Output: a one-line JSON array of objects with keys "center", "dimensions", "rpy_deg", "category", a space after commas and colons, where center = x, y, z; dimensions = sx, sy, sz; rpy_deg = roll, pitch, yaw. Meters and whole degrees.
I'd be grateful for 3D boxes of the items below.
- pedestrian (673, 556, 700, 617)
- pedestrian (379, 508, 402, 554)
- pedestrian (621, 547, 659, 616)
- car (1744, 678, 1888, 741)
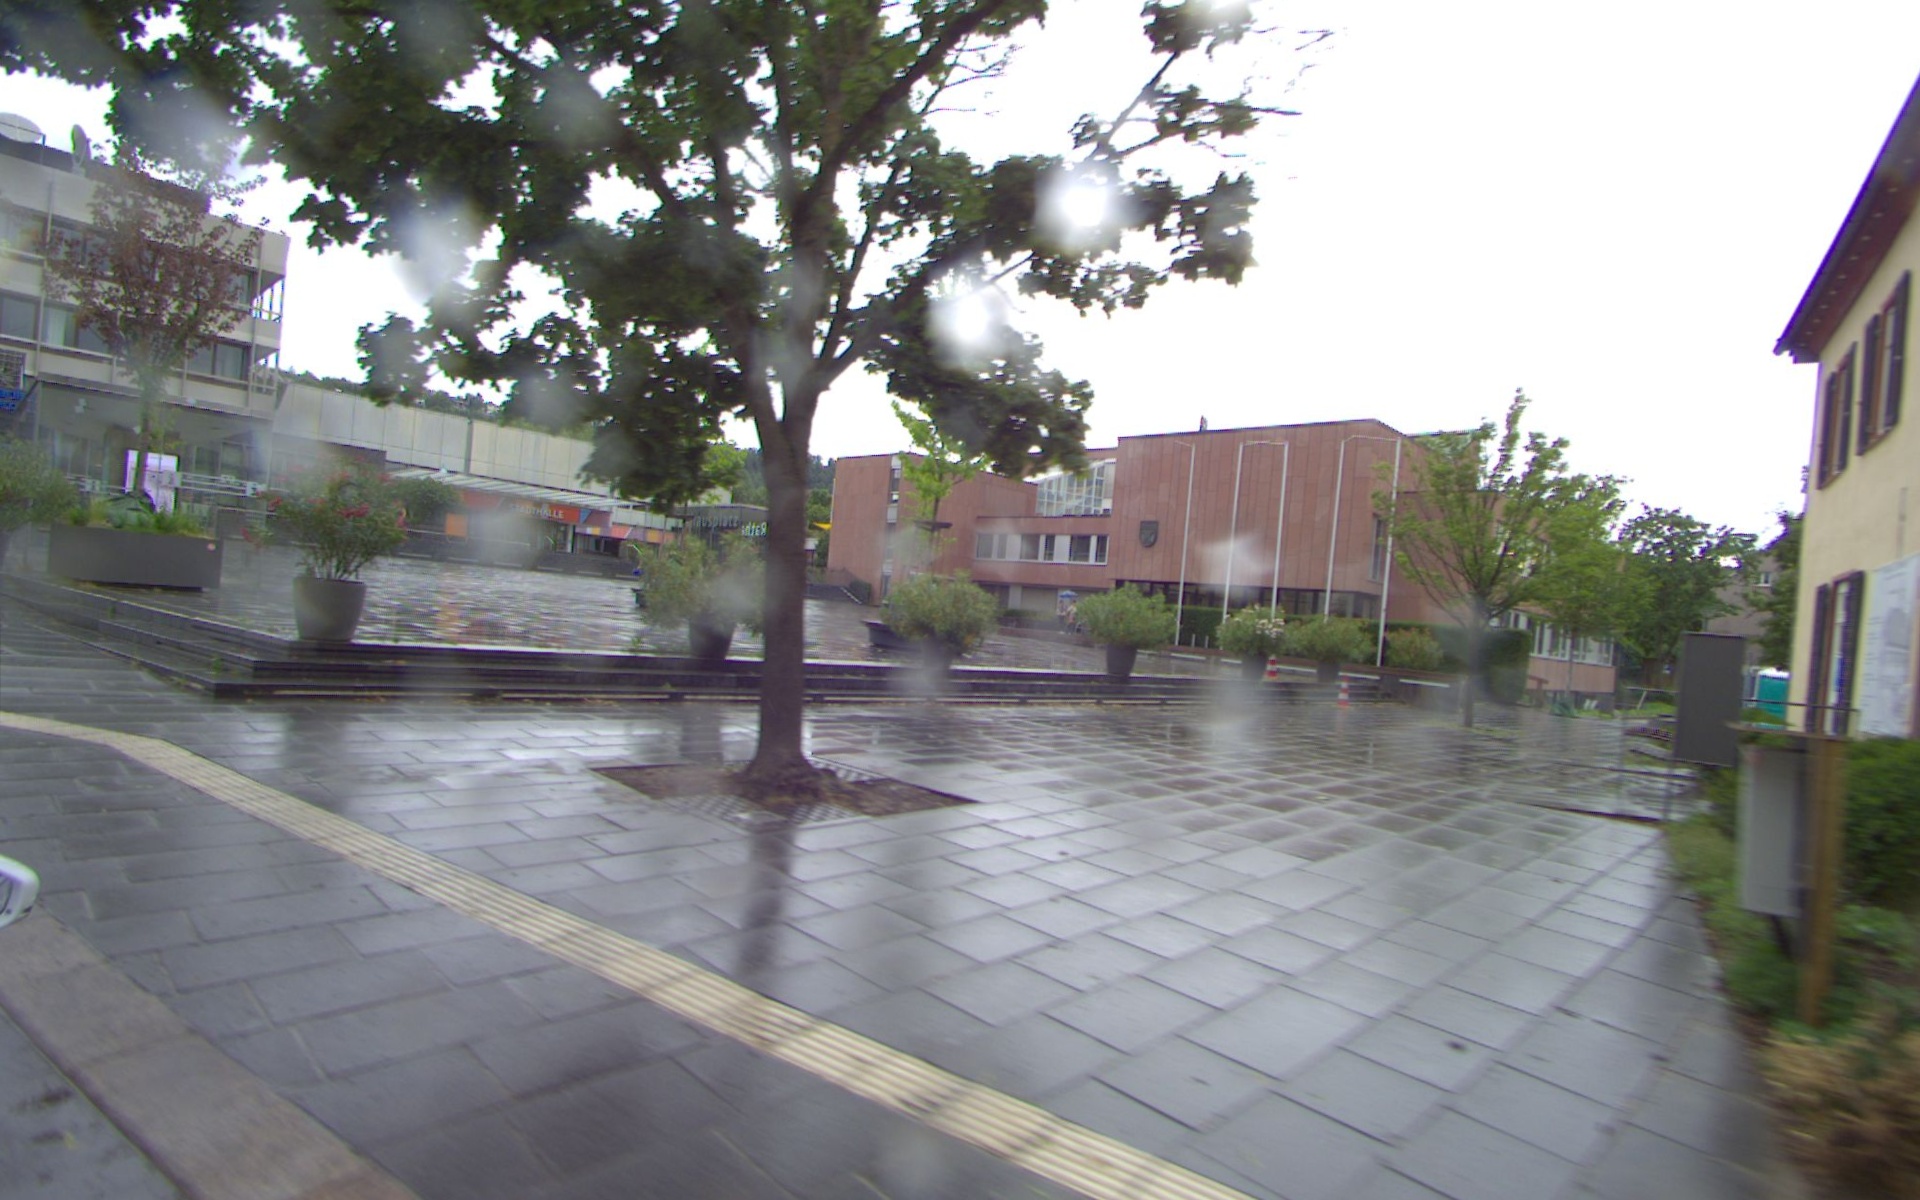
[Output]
[{"center": [-11.370, -0.548, 41.850], "dimensions": [0.562, 2.471, 0.731], "rpy_deg": [7, 2, 45], "category": "pedestrian"}, {"center": [-27.877, -3.374, 49.244], "dimensions": [0.754, 2.175, 0.651], "rpy_deg": [4, 2, -41], "category": "pedestrian"}, {"center": [-13.083, -0.743, 41.153], "dimensions": [1.048, 2.719, 0.822], "rpy_deg": [4, 2, -41], "category": "pedestrian"}, {"center": [32.365, 4.099, 38.153], "dimensions": [3.945, 1.795, 1.710], "rpy_deg": [6, 1, 42], "category": "car"}]
